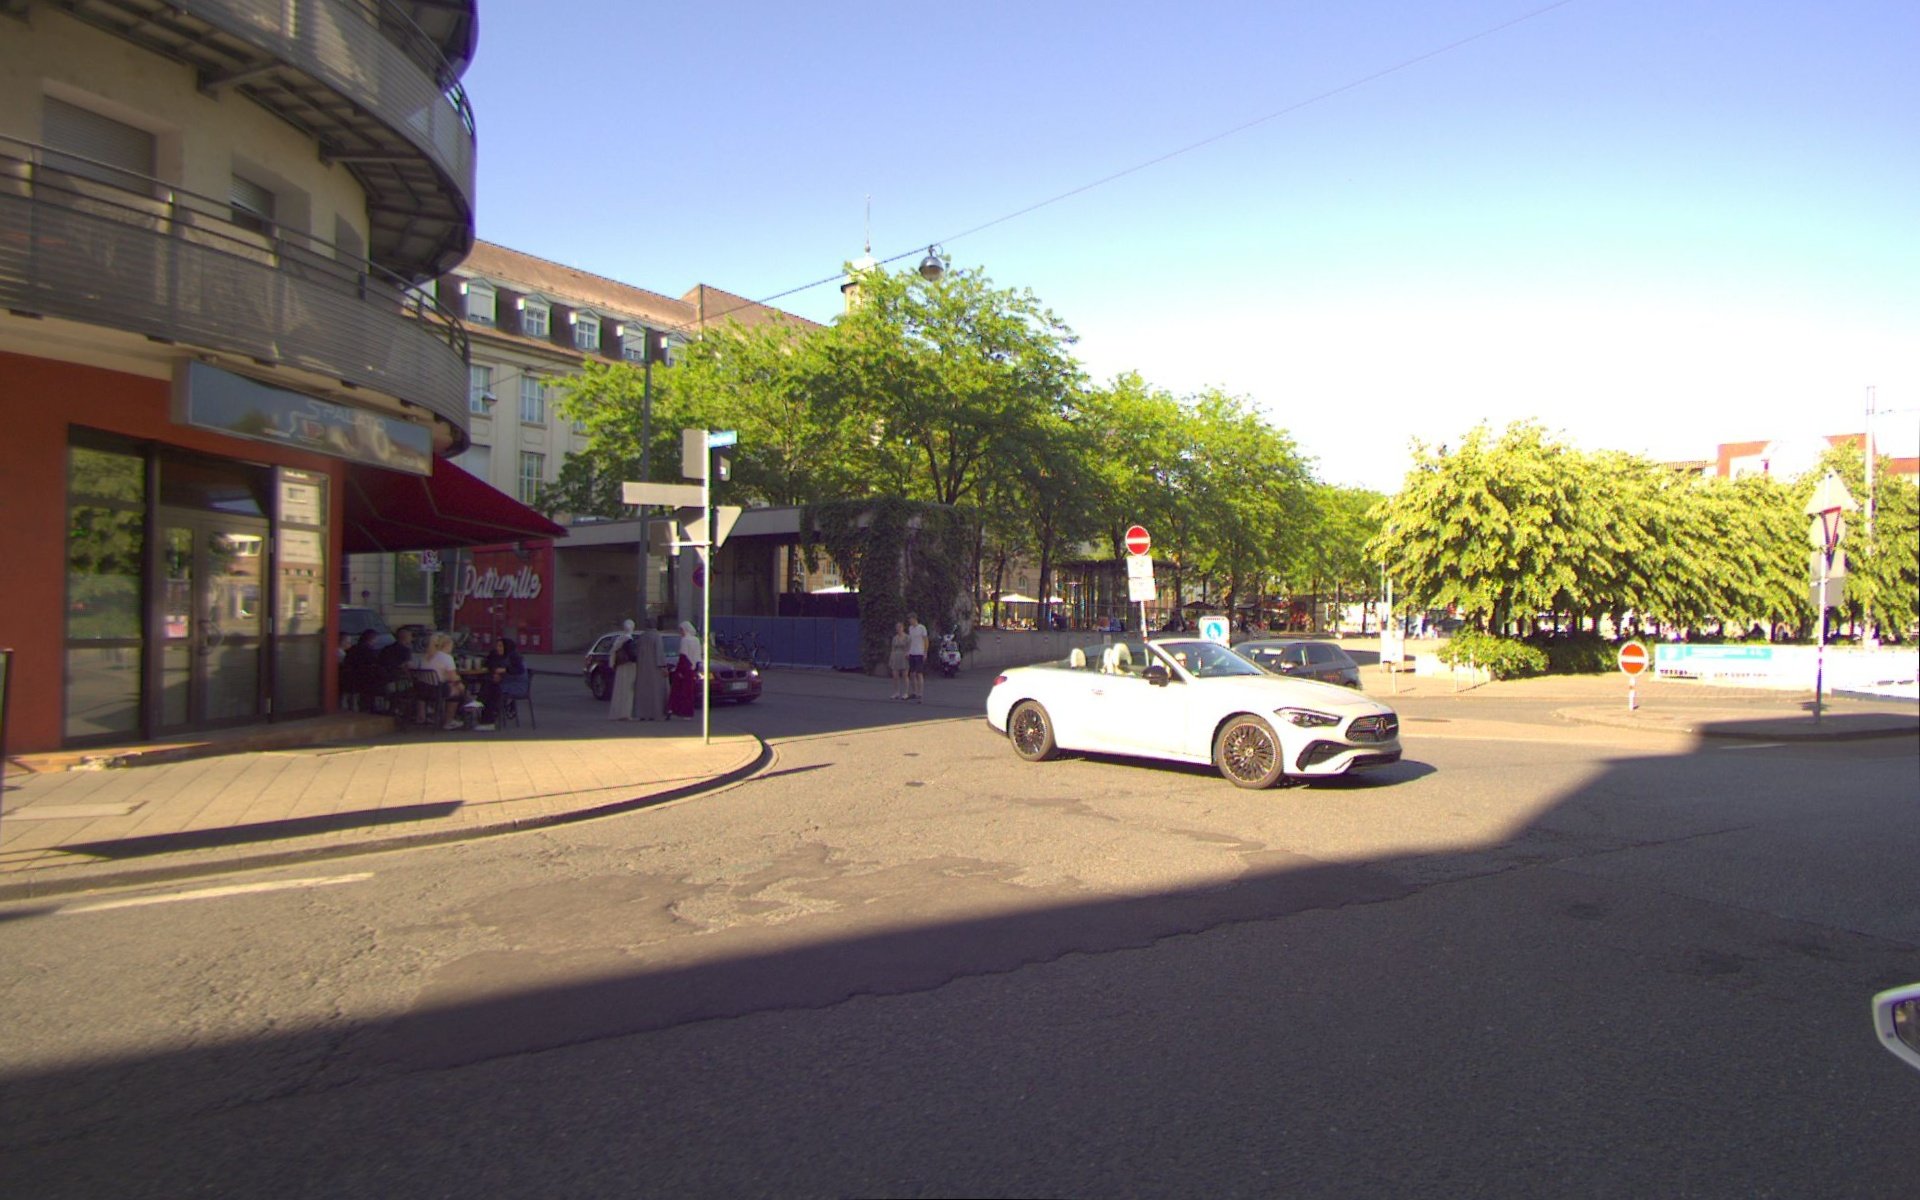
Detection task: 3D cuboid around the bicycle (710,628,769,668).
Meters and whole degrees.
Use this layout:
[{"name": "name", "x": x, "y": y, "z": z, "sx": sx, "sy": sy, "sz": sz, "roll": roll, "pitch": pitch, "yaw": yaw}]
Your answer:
[{"name": "bicycle", "x": -6.716, "y": 1.449, "z": 30.697, "sx": 0.497, "sy": 1.146, "sz": 1.960, "roll": 0, "pitch": -1, "yaw": 33}]

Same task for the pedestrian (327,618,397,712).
[{"name": "pedestrian", "x": -8.867, "y": 0.943, "z": 14.907, "sx": 0.565, "sy": 1.357, "sz": 0.698, "roll": 0, "pitch": -1, "yaw": 33}]

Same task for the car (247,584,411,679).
[{"name": "car", "x": -15.282, "y": 0.764, "z": 24.271, "sx": 4.283, "sy": 2.076, "sz": 2.027, "roll": -1, "pitch": -2, "yaw": 38}]

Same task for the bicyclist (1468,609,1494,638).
[{"name": "bicyclist", "x": 31.798, "y": 1.444, "z": 61.286, "sx": 1.198, "sy": 1.723, "sz": 0.958, "roll": 1, "pitch": 0, "yaw": -33}]

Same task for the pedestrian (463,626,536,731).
[{"name": "pedestrian", "x": -6.182, "y": 1.034, "z": 13.494, "sx": 0.565, "sy": 1.357, "sz": 0.698, "roll": 0, "pitch": -1, "yaw": 33}]

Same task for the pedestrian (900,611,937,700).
[{"name": "pedestrian", "x": -0.892, "y": 1.173, "z": 21.486, "sx": 0.577, "sy": 1.852, "sz": 0.557, "roll": 0, "pitch": -1, "yaw": 29}]

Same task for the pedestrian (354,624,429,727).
[{"name": "pedestrian", "x": -7.756, "y": 1.007, "z": 13.720, "sx": 0.565, "sy": 1.357, "sz": 0.698, "roll": 0, "pitch": -1, "yaw": 33}]

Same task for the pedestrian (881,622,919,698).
[{"name": "pedestrian", "x": -1.323, "y": 1.305, "z": 22.032, "sx": 0.605, "sy": 1.634, "sz": 0.582, "roll": 0, "pitch": -1, "yaw": 29}]

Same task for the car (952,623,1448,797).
[{"name": "car", "x": 2.299, "y": 1.004, "z": 10.916, "sx": 1.985, "sy": 1.441, "sz": 5.056, "roll": 2, "pitch": -3, "yaw": -41}]

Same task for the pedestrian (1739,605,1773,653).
[{"name": "pedestrian", "x": 35.978, "y": 1.309, "z": 45.386, "sx": 0.949, "sy": 2.136, "sz": 0.734, "roll": 1, "pitch": 0, "yaw": -6}]

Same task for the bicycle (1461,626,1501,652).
[{"name": "bicycle", "x": 31.779, "y": 2.389, "z": 61.258, "sx": 2.660, "sy": 1.523, "sz": 0.958, "roll": 1, "pitch": 0, "yaw": -34}]

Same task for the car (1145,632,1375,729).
[{"name": "car", "x": 5.606, "y": 1.386, "z": 18.527, "sx": 4.495, "sy": 1.442, "sz": 1.735, "roll": 0, "pitch": 0, "yaw": -37}]

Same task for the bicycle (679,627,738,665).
[{"name": "bicycle", "x": -7.819, "y": 1.421, "z": 31.329, "sx": 0.497, "sy": 1.146, "sz": 1.960, "roll": 0, "pitch": -1, "yaw": 33}]

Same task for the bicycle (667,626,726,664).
[{"name": "bicycle", "x": -8.299, "y": 1.411, "z": 31.733, "sx": 0.497, "sy": 1.146, "sz": 1.960, "roll": 0, "pitch": -1, "yaw": 33}]

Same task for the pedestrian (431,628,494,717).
[{"name": "pedestrian", "x": -7.805, "y": 1.119, "z": 15.779, "sx": 0.563, "sy": 1.357, "sz": 0.700, "roll": 0, "pitch": -1, "yaw": 9}]

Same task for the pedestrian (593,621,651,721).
[{"name": "pedestrian", "x": -5.476, "y": 1.129, "z": 16.278, "sx": 0.563, "sy": 1.556, "sz": 0.700, "roll": 0, "pitch": -1, "yaw": 21}]

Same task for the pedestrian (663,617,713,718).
[{"name": "pedestrian", "x": -4.298, "y": 1.052, "z": 15.883, "sx": 0.532, "sy": 1.556, "sz": 0.553, "roll": 0, "pitch": -1, "yaw": 20}]

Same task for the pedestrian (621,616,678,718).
[{"name": "pedestrian", "x": -4.906, "y": 1.040, "z": 15.883, "sx": 0.531, "sy": 1.556, "sz": 0.687, "roll": 0, "pitch": -1, "yaw": 21}]

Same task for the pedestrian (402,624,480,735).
[{"name": "pedestrian", "x": -6.646, "y": 0.991, "z": 12.876, "sx": 0.565, "sy": 1.357, "sz": 0.698, "roll": 0, "pitch": -1, "yaw": 33}]

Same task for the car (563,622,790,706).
[{"name": "car", "x": -5.828, "y": 1.237, "z": 20.436, "sx": 4.657, "sy": 1.535, "sz": 1.915, "roll": -1, "pitch": -2, "yaw": 35}]

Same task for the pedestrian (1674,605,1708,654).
[{"name": "pedestrian", "x": 32.013, "y": 1.286, "z": 44.008, "sx": 0.949, "sy": 2.136, "sz": 0.734, "roll": 1, "pitch": 0, "yaw": -6}]

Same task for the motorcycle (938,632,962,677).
[{"name": "motorcycle", "x": -0.305, "y": 1.530, "z": 28.694, "sx": 0.496, "sy": 1.224, "sz": 1.693, "roll": 1, "pitch": -1, "yaw": -7}]

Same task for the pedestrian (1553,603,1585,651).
[{"name": "pedestrian", "x": 27.238, "y": 1.192, "z": 44.941, "sx": 0.949, "sy": 2.136, "sz": 0.734, "roll": 1, "pitch": 0, "yaw": -6}]

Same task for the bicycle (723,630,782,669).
[{"name": "bicycle", "x": -6.264, "y": 1.478, "z": 30.398, "sx": 0.497, "sy": 1.146, "sz": 1.960, "roll": 0, "pitch": -1, "yaw": 33}]
